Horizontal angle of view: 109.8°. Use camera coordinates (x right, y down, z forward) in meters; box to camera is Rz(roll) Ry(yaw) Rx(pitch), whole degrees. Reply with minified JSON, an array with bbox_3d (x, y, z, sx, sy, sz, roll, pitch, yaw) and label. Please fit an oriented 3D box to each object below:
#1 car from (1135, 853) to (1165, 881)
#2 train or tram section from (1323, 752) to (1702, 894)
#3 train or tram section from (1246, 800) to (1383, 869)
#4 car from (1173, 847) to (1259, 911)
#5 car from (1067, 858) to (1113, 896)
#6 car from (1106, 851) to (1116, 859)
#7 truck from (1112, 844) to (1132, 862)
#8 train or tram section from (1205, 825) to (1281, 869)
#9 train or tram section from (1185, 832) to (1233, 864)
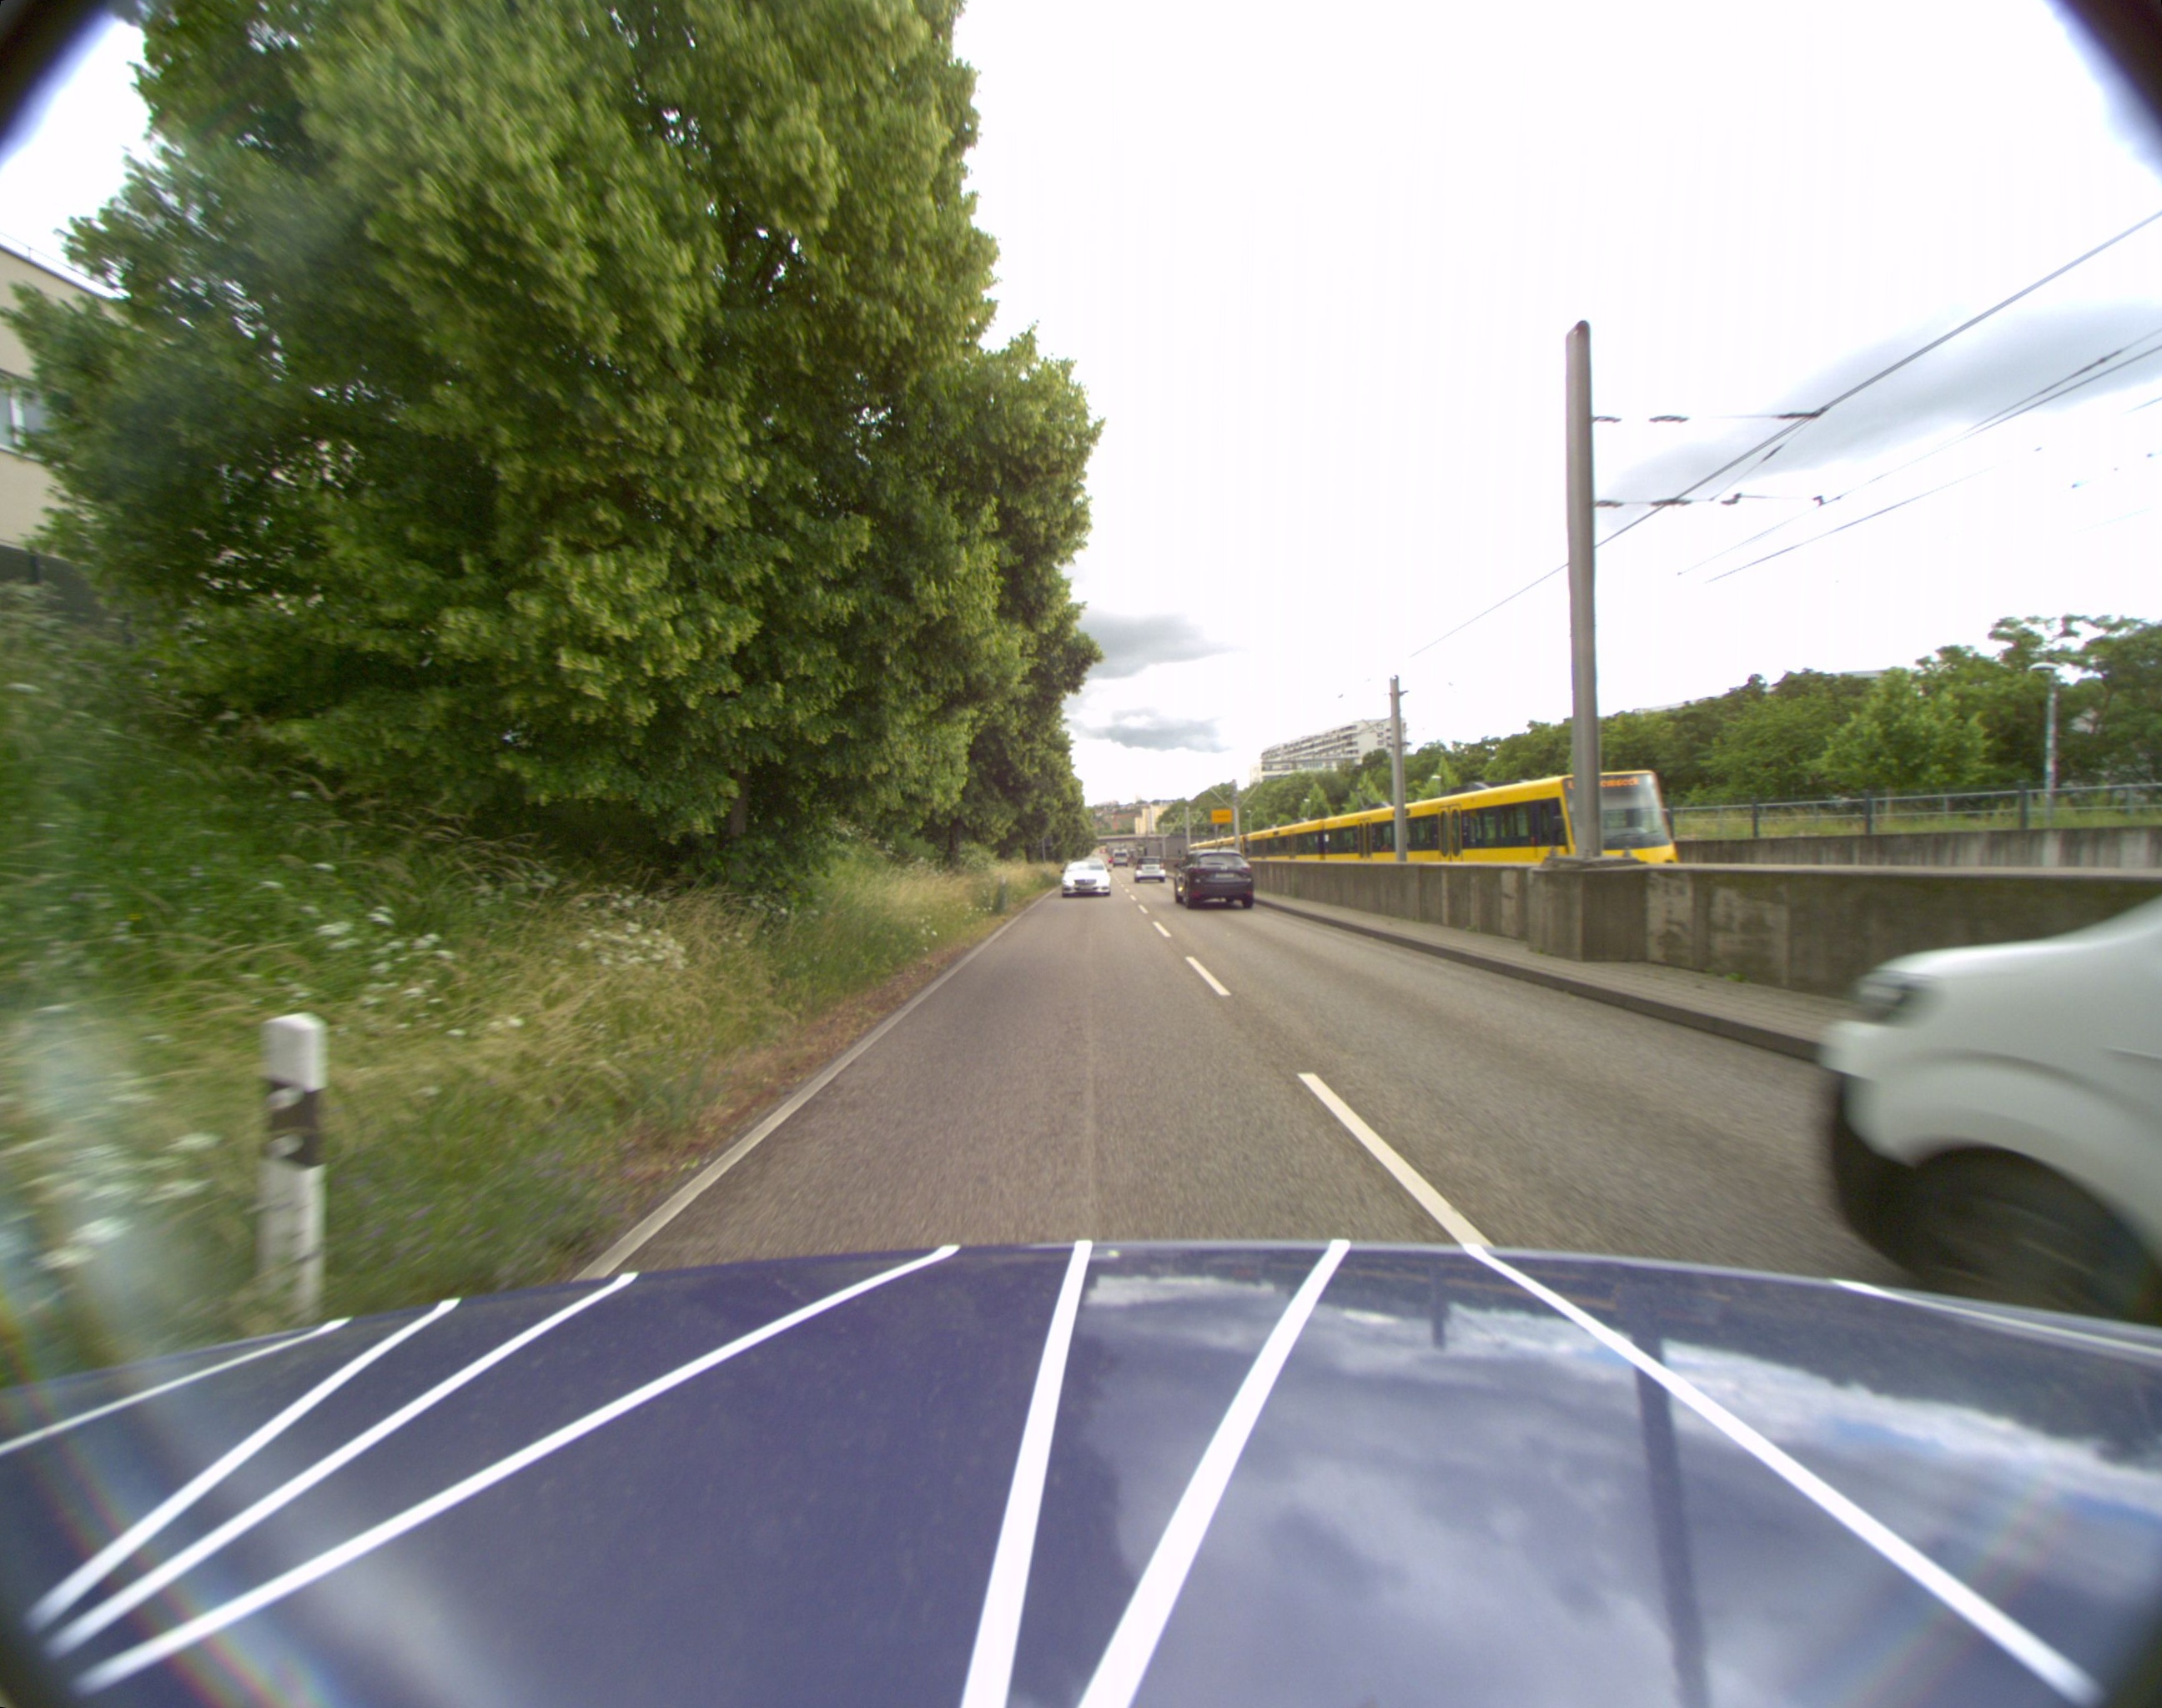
[{"bbox_3d":[3.988,0.713,44.276,1.598,1.531,2.697,-1,0,2],"label":"car"},{"bbox_3d":[12.961,-0.819,26.835,2.788,3.175,18.471,-2,1,0],"label":"train or tram section"},{"bbox_3d":[13.109,-1.037,45.330,2.788,3.175,18.473,-2,1,1],"label":"train or tram section"},{"bbox_3d":[3.879,0.689,22.468,1.782,1.677,4.065,-1,0,0],"label":"car"},{"bbox_3d":[0.332,0.906,31.720,1.739,1.366,3.999,-2,1,-1],"label":"car"},{"bbox_3d":[6.178,0.141,158.683,1.998,1.630,4.000,-1,0,1],"label":"car"},{"bbox_3d":[5.859,-0.139,110.016,2.456,2.412,8.211,-2,1,1],"label":"truck"},{"bbox_3d":[13.755,-0.557,66.723,2.742,3.196,19.916,-2,0,1],"label":"train or tram section"},{"bbox_3d":[14.149,-0.618,85.528,2.718,3.172,17.567,-2,0,1],"label":"train or tram section"}]
